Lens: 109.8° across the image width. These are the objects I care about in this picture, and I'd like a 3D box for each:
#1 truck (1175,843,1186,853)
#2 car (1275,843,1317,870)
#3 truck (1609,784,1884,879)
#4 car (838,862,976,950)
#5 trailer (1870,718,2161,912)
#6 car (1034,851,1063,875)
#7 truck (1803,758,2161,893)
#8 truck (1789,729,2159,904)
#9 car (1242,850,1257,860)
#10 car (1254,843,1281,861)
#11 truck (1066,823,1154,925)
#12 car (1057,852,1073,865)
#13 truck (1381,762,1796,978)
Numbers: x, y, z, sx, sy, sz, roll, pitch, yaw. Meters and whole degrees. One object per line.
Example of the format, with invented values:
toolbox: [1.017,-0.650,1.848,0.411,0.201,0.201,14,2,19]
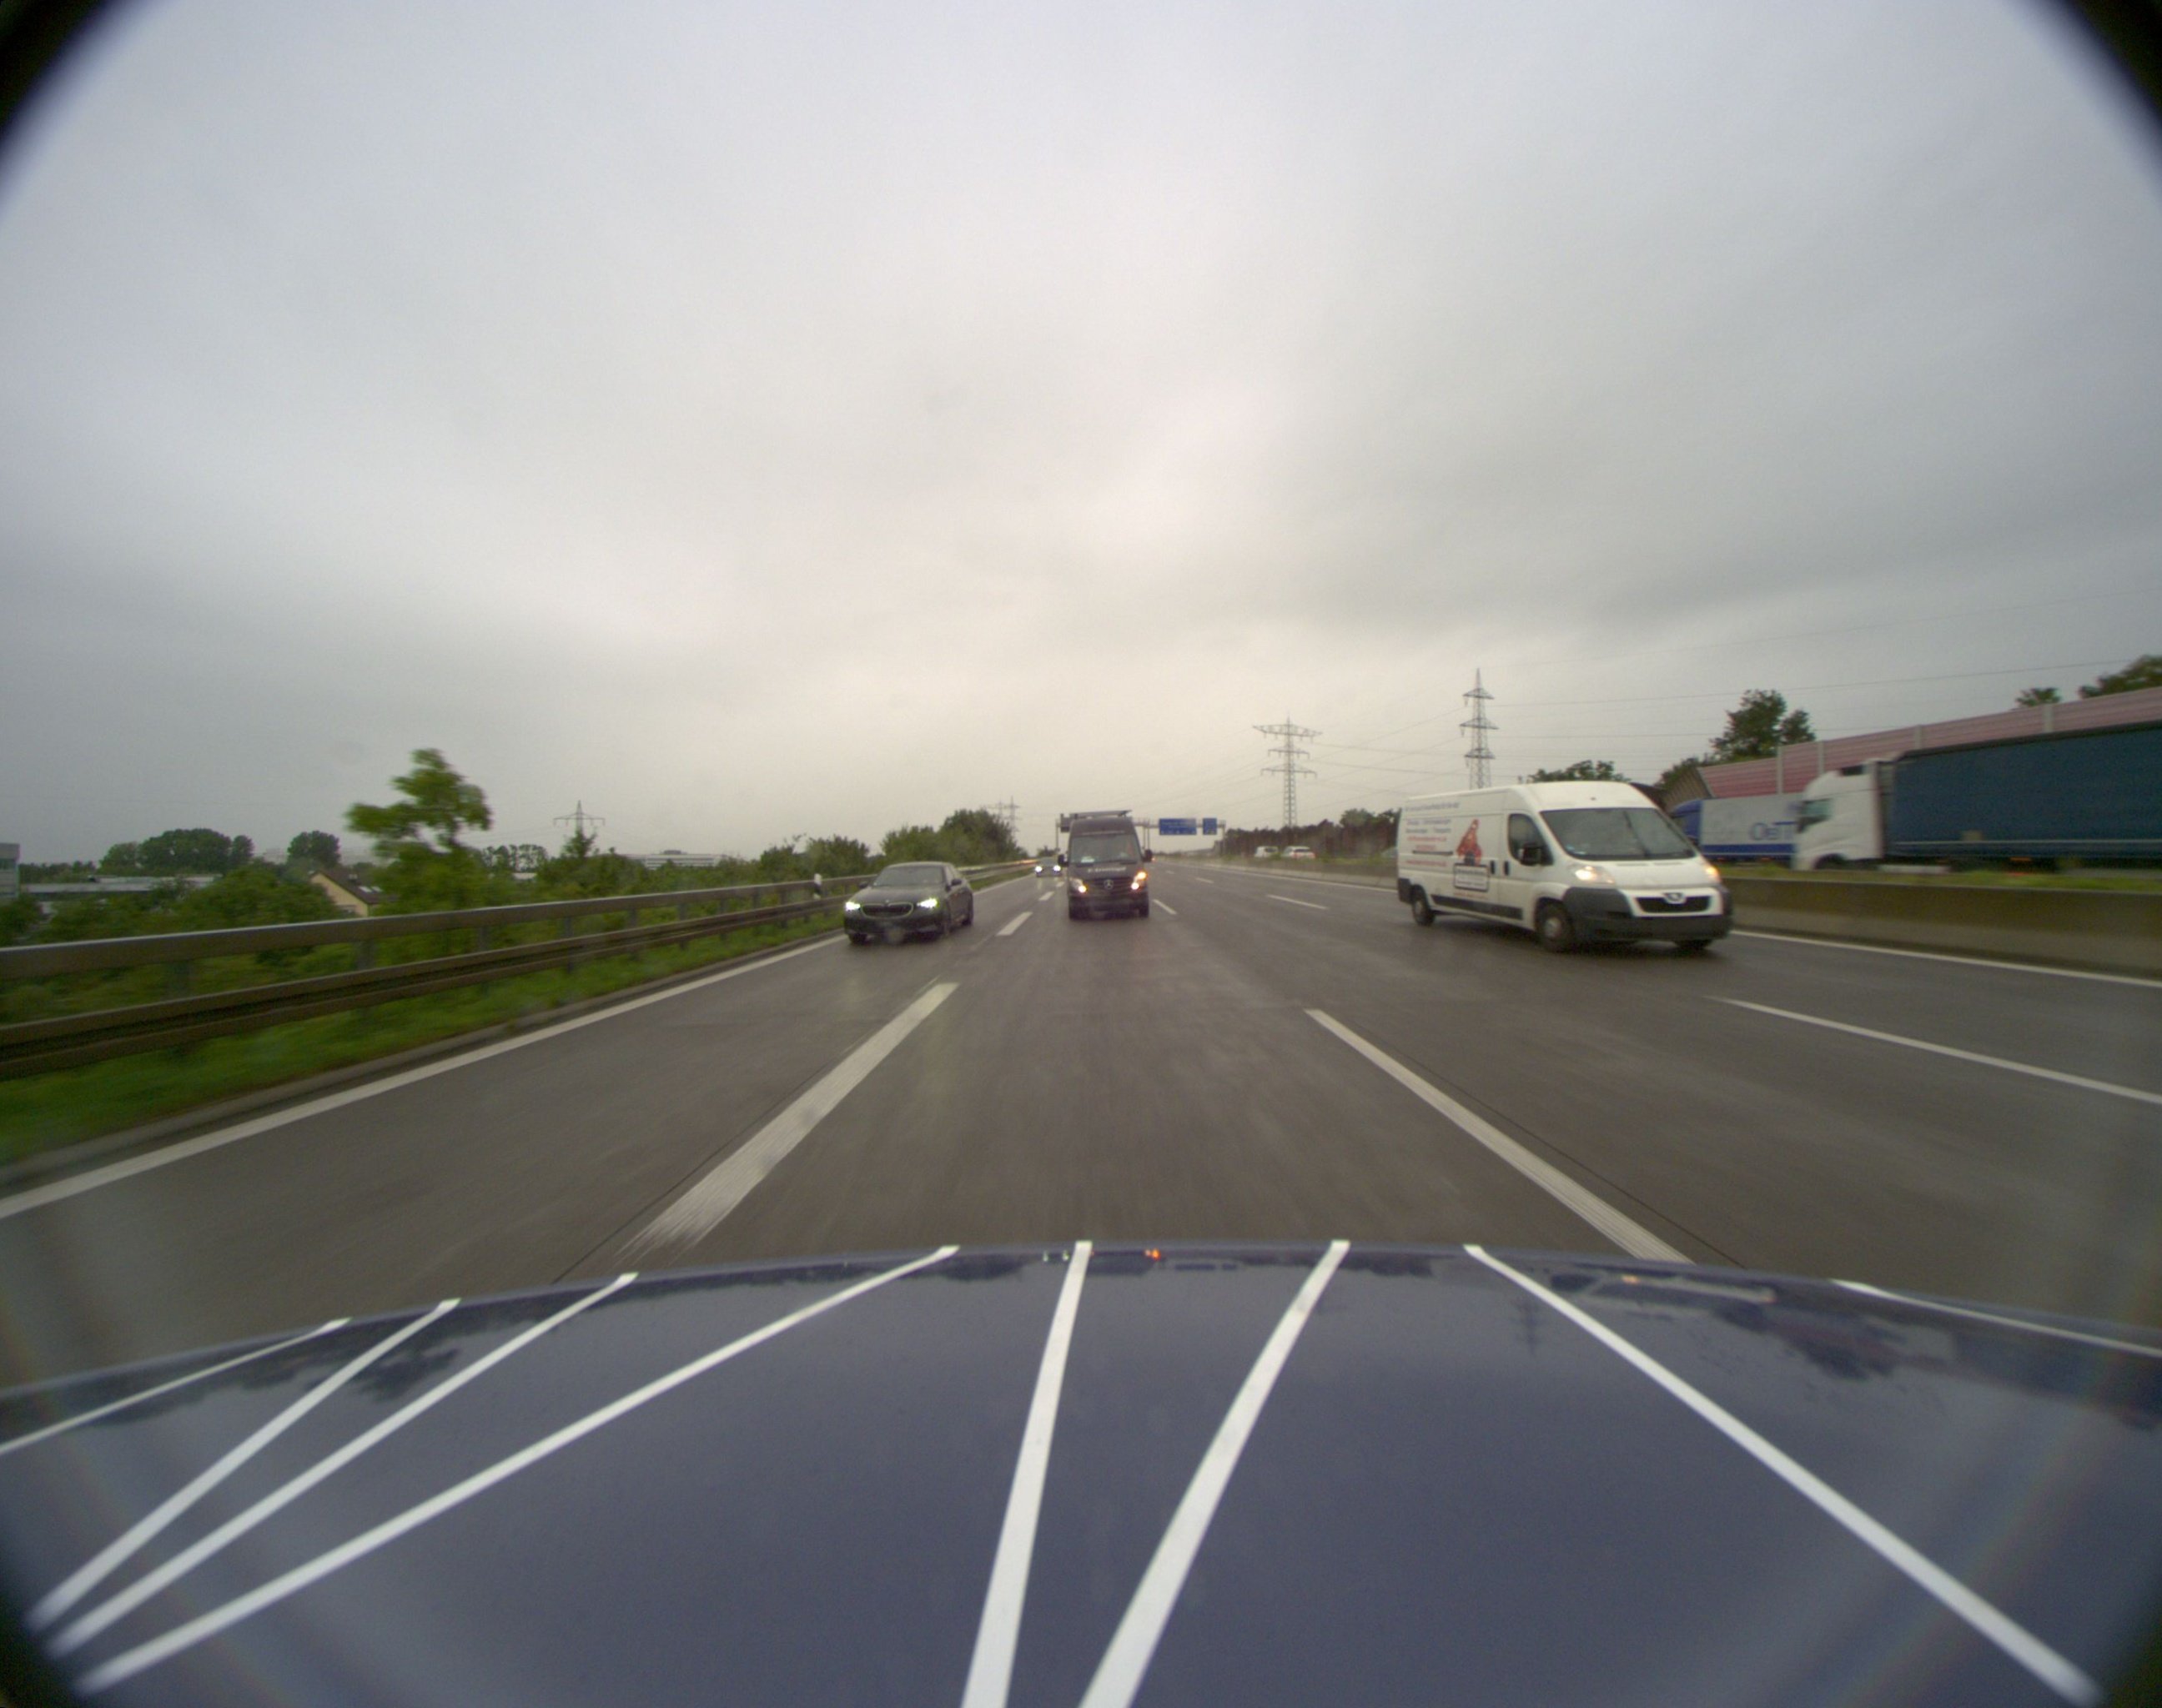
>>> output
truck: [23.369,-1.393,178.580,2.150,2.193,5.419,-2,0,2]
car: [17.170,0.169,60.918,1.998,2.002,4.791,-2,0,1]
truck: [27.861,-0.834,32.875,2.719,3.331,10.432,-3,0,1]
car: [-3.478,0.977,16.017,1.862,1.531,4.203,-3,0,0]
trailer: [23.822,-0.869,14.423,3.053,4.004,14.125,-3,0,1]
car: [-2.471,0.668,58.370,1.998,1.706,4.000,0,0,1]
truck: [27.691,-0.786,23.208,2.980,3.331,8.699,-3,0,1]
truck: [23.956,-0.902,21.013,3.054,4.004,6.051,-3,0,1]
car: [30.884,0.235,139.537,1.998,1.729,4.264,-2,0,2]
car: [21.809,-0.245,88.862,1.998,2.002,5.134,-2,0,2]
truck: [0.635,0.436,20.613,1.999,2.324,6.110,-1,1,-1]
car: [-2.045,0.579,100.040,1.998,1.706,4.000,0,0,1]
truck: [7.367,0.181,12.368,2.243,2.464,6.582,-3,0,0]
